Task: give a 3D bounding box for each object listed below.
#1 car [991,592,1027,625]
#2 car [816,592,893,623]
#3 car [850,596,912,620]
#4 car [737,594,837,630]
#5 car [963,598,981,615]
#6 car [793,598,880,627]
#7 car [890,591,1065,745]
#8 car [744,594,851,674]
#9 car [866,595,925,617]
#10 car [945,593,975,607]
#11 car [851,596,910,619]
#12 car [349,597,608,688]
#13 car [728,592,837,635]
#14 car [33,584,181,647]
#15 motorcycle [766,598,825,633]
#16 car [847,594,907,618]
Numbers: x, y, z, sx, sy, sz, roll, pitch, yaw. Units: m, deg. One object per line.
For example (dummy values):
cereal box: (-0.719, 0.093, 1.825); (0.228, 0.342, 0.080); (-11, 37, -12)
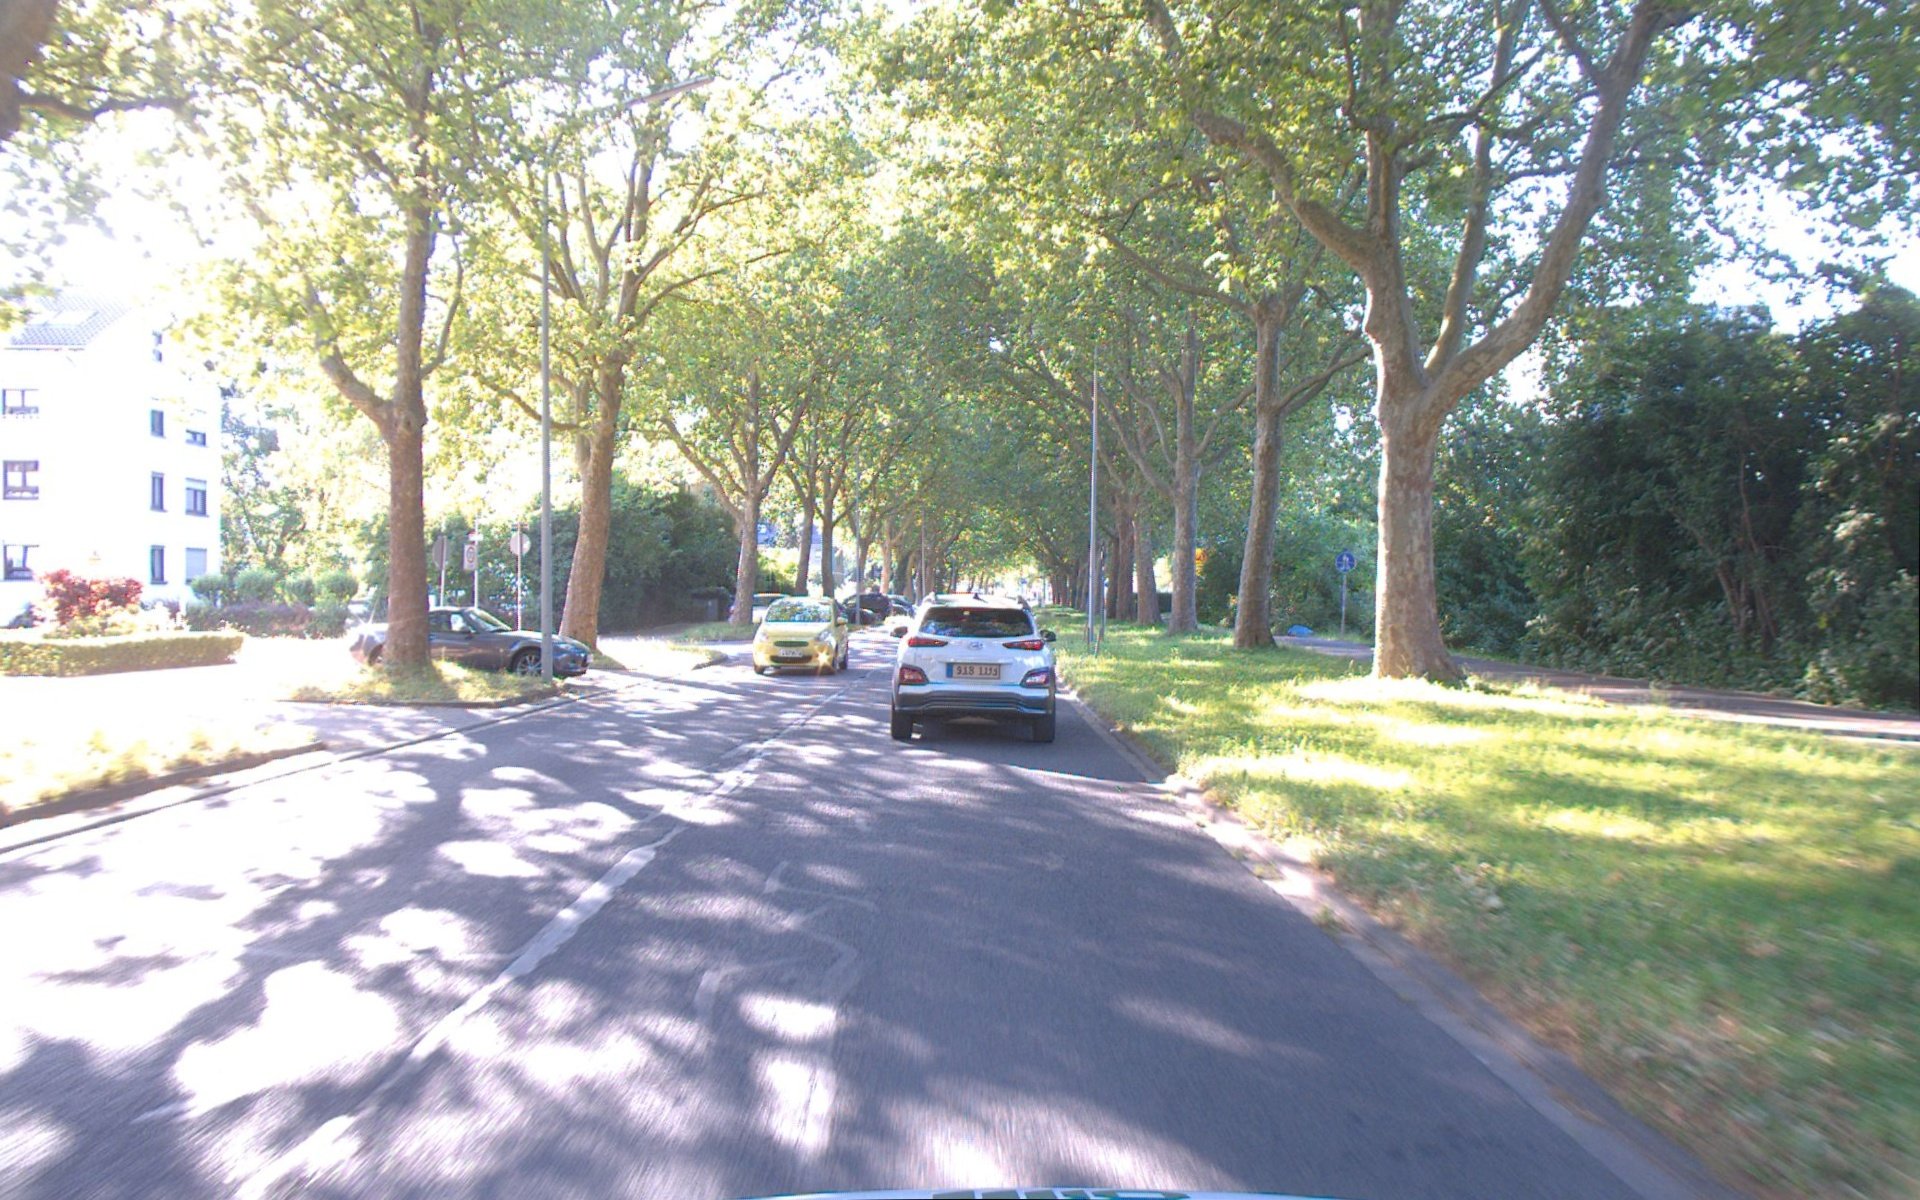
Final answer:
car: (2.621, 0.462, 89.187); (1.643, 1.725, 3.743); (1, 0, -2)
car: (-5.961, 0.422, 93.666); (4.155, 1.709, 1.671); (0, 0, 2)
car: (-5.118, 0.510, 107.434); (3.904, 1.496, 1.781); (0, 0, 1)
car: (-7.282, 0.499, 70.008); (4.076, 1.532, 1.801); (0, 0, -2)
car: (0.986, 0.541, 140.443); (1.504, 1.484, 3.185); (0, 0, 0)
car: (-6.076, 0.636, 81.669); (4.153, 1.376, 1.741); (-1, 0, 0)
car: (0.100, 0.704, 19.195); (1.799, 1.583, 3.998); (0, 0, -3)
car: (-3.248, 0.658, 33.667); (1.747, 1.539, 3.838); (0, 0, 1)
car: (-4.484, 0.413, 114.962); (3.903, 1.496, 1.810); (0, 0, 3)
car: (0.027, -0.042, 221.437); (3.907, 1.803, 1.999); (1, -1, -3)
car: (-5.249, 0.490, 109.471); (3.906, 1.449, 1.808); (0, 0, -2)
car: (-7.927, 0.680, 27.475); (3.748, 1.339, 1.789); (2, 0, -1)
car: (-6.926, 0.536, 64.982); (4.099, 1.612, 1.999); (1, 0, -3)
car: (-22.695, 0.400, 44.189); (1.953, 1.602, 3.998); (1, 0, -2)
motorcycle: (-6.655, 0.629, 67.118); (2.338, 1.412, 0.648); (0, 0, -4)
car: (-5.629, 0.411, 112.565); (3.904, 1.546, 1.809); (0, 0, 1)
